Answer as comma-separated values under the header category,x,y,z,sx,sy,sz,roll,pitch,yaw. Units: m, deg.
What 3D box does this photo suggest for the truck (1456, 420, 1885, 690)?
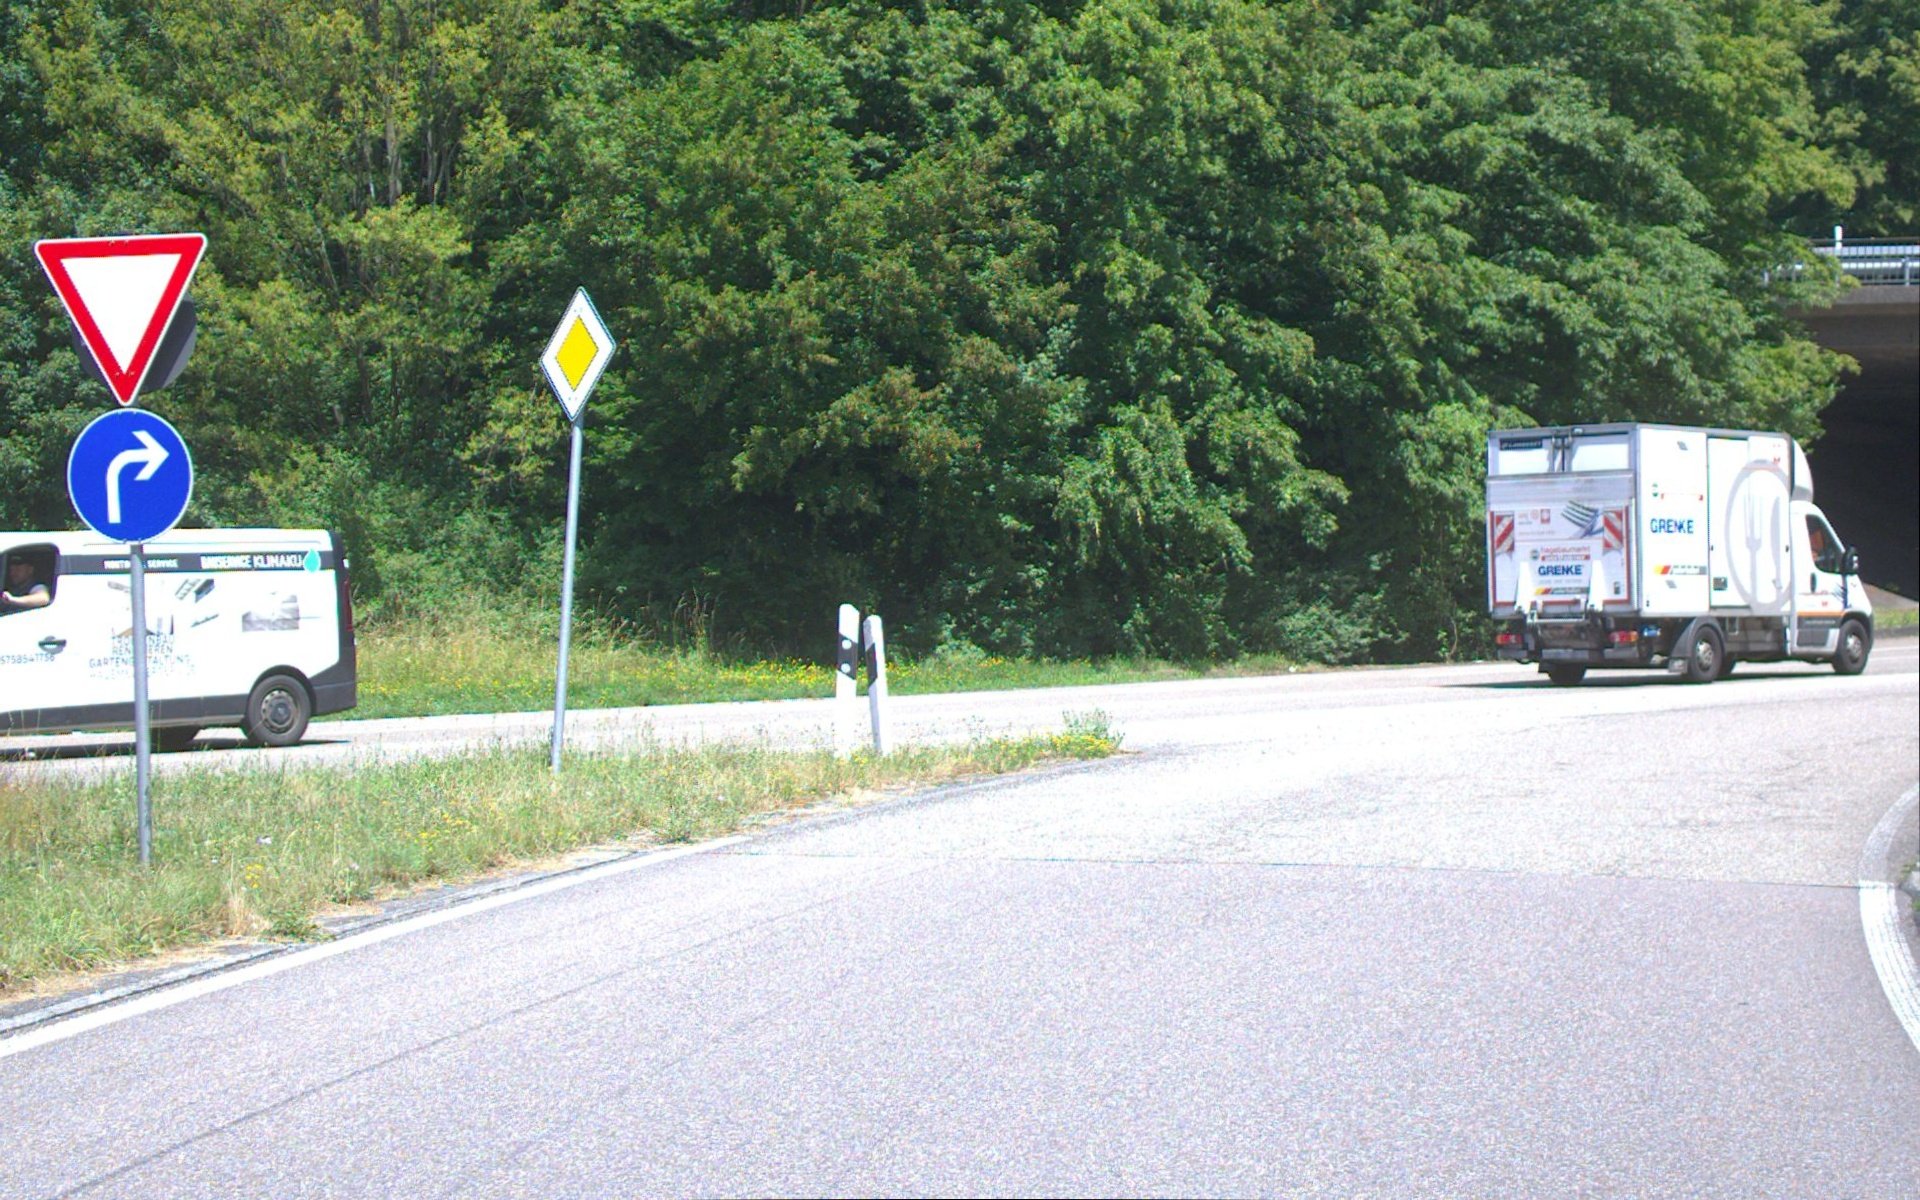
category,x,y,z,sx,sy,sz,roll,pitch,yaw
truck,8.521,-0.526,40.802,2.246,2.974,5.880,0,0,43

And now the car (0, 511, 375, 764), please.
category,x,y,z,sx,sy,sz,roll,pitch,yaw
car,-7.814,0.320,29.447,1.913,1.954,5.380,-1,2,43
